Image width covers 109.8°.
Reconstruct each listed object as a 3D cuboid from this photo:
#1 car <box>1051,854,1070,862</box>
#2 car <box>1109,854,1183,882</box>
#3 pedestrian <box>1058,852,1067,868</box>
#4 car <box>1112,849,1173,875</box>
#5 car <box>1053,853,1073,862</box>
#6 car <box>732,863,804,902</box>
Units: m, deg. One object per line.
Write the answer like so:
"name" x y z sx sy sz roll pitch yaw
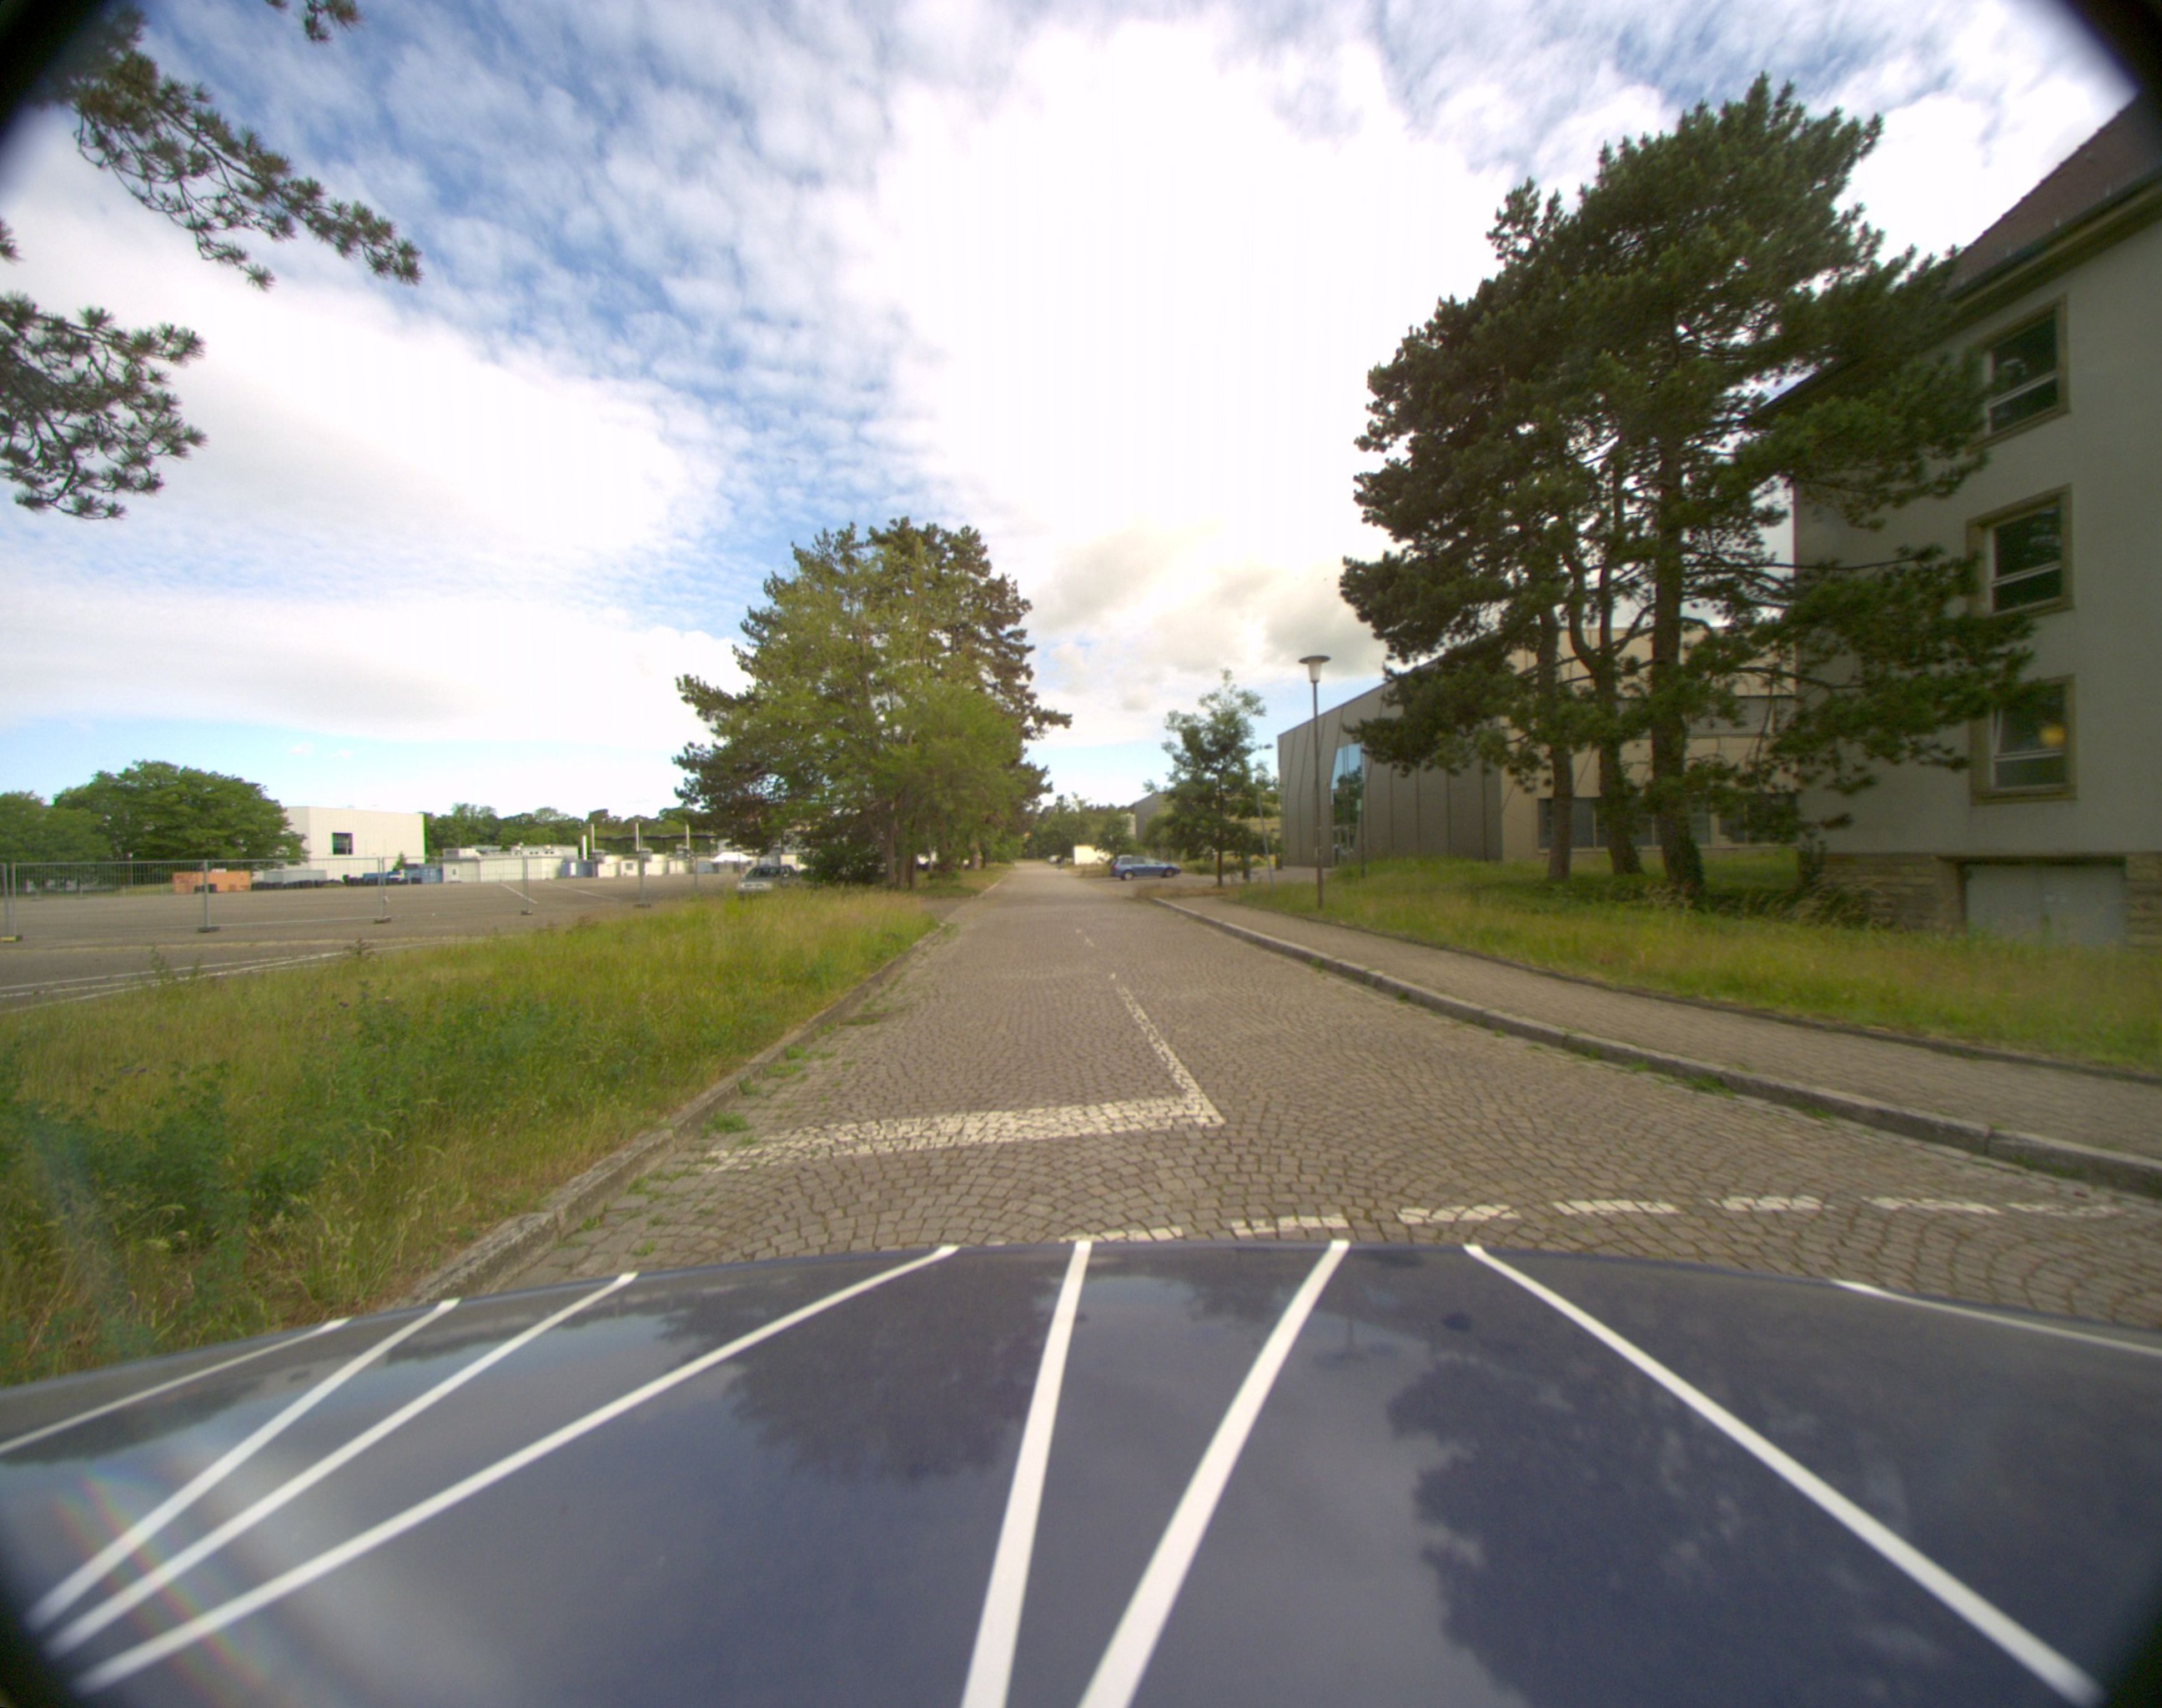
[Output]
"car" -4.368 0.875 165.414 4.079 1.565 1.785 -2 1 -2
"car" 4.140 0.871 48.836 4.416 1.455 1.837 -4 1 -6
"pedestrian" -1.925 0.622 80.104 0.875 1.713 1.007 -1 1 2
"car" 4.522 0.592 56.306 4.194 1.577 1.837 -4 1 -6
"car" -3.890 0.728 163.170 4.079 1.828 1.785 -2 1 -1
"car" -13.457 1.171 32.948 1.864 1.466 4.148 -1 0 -8
